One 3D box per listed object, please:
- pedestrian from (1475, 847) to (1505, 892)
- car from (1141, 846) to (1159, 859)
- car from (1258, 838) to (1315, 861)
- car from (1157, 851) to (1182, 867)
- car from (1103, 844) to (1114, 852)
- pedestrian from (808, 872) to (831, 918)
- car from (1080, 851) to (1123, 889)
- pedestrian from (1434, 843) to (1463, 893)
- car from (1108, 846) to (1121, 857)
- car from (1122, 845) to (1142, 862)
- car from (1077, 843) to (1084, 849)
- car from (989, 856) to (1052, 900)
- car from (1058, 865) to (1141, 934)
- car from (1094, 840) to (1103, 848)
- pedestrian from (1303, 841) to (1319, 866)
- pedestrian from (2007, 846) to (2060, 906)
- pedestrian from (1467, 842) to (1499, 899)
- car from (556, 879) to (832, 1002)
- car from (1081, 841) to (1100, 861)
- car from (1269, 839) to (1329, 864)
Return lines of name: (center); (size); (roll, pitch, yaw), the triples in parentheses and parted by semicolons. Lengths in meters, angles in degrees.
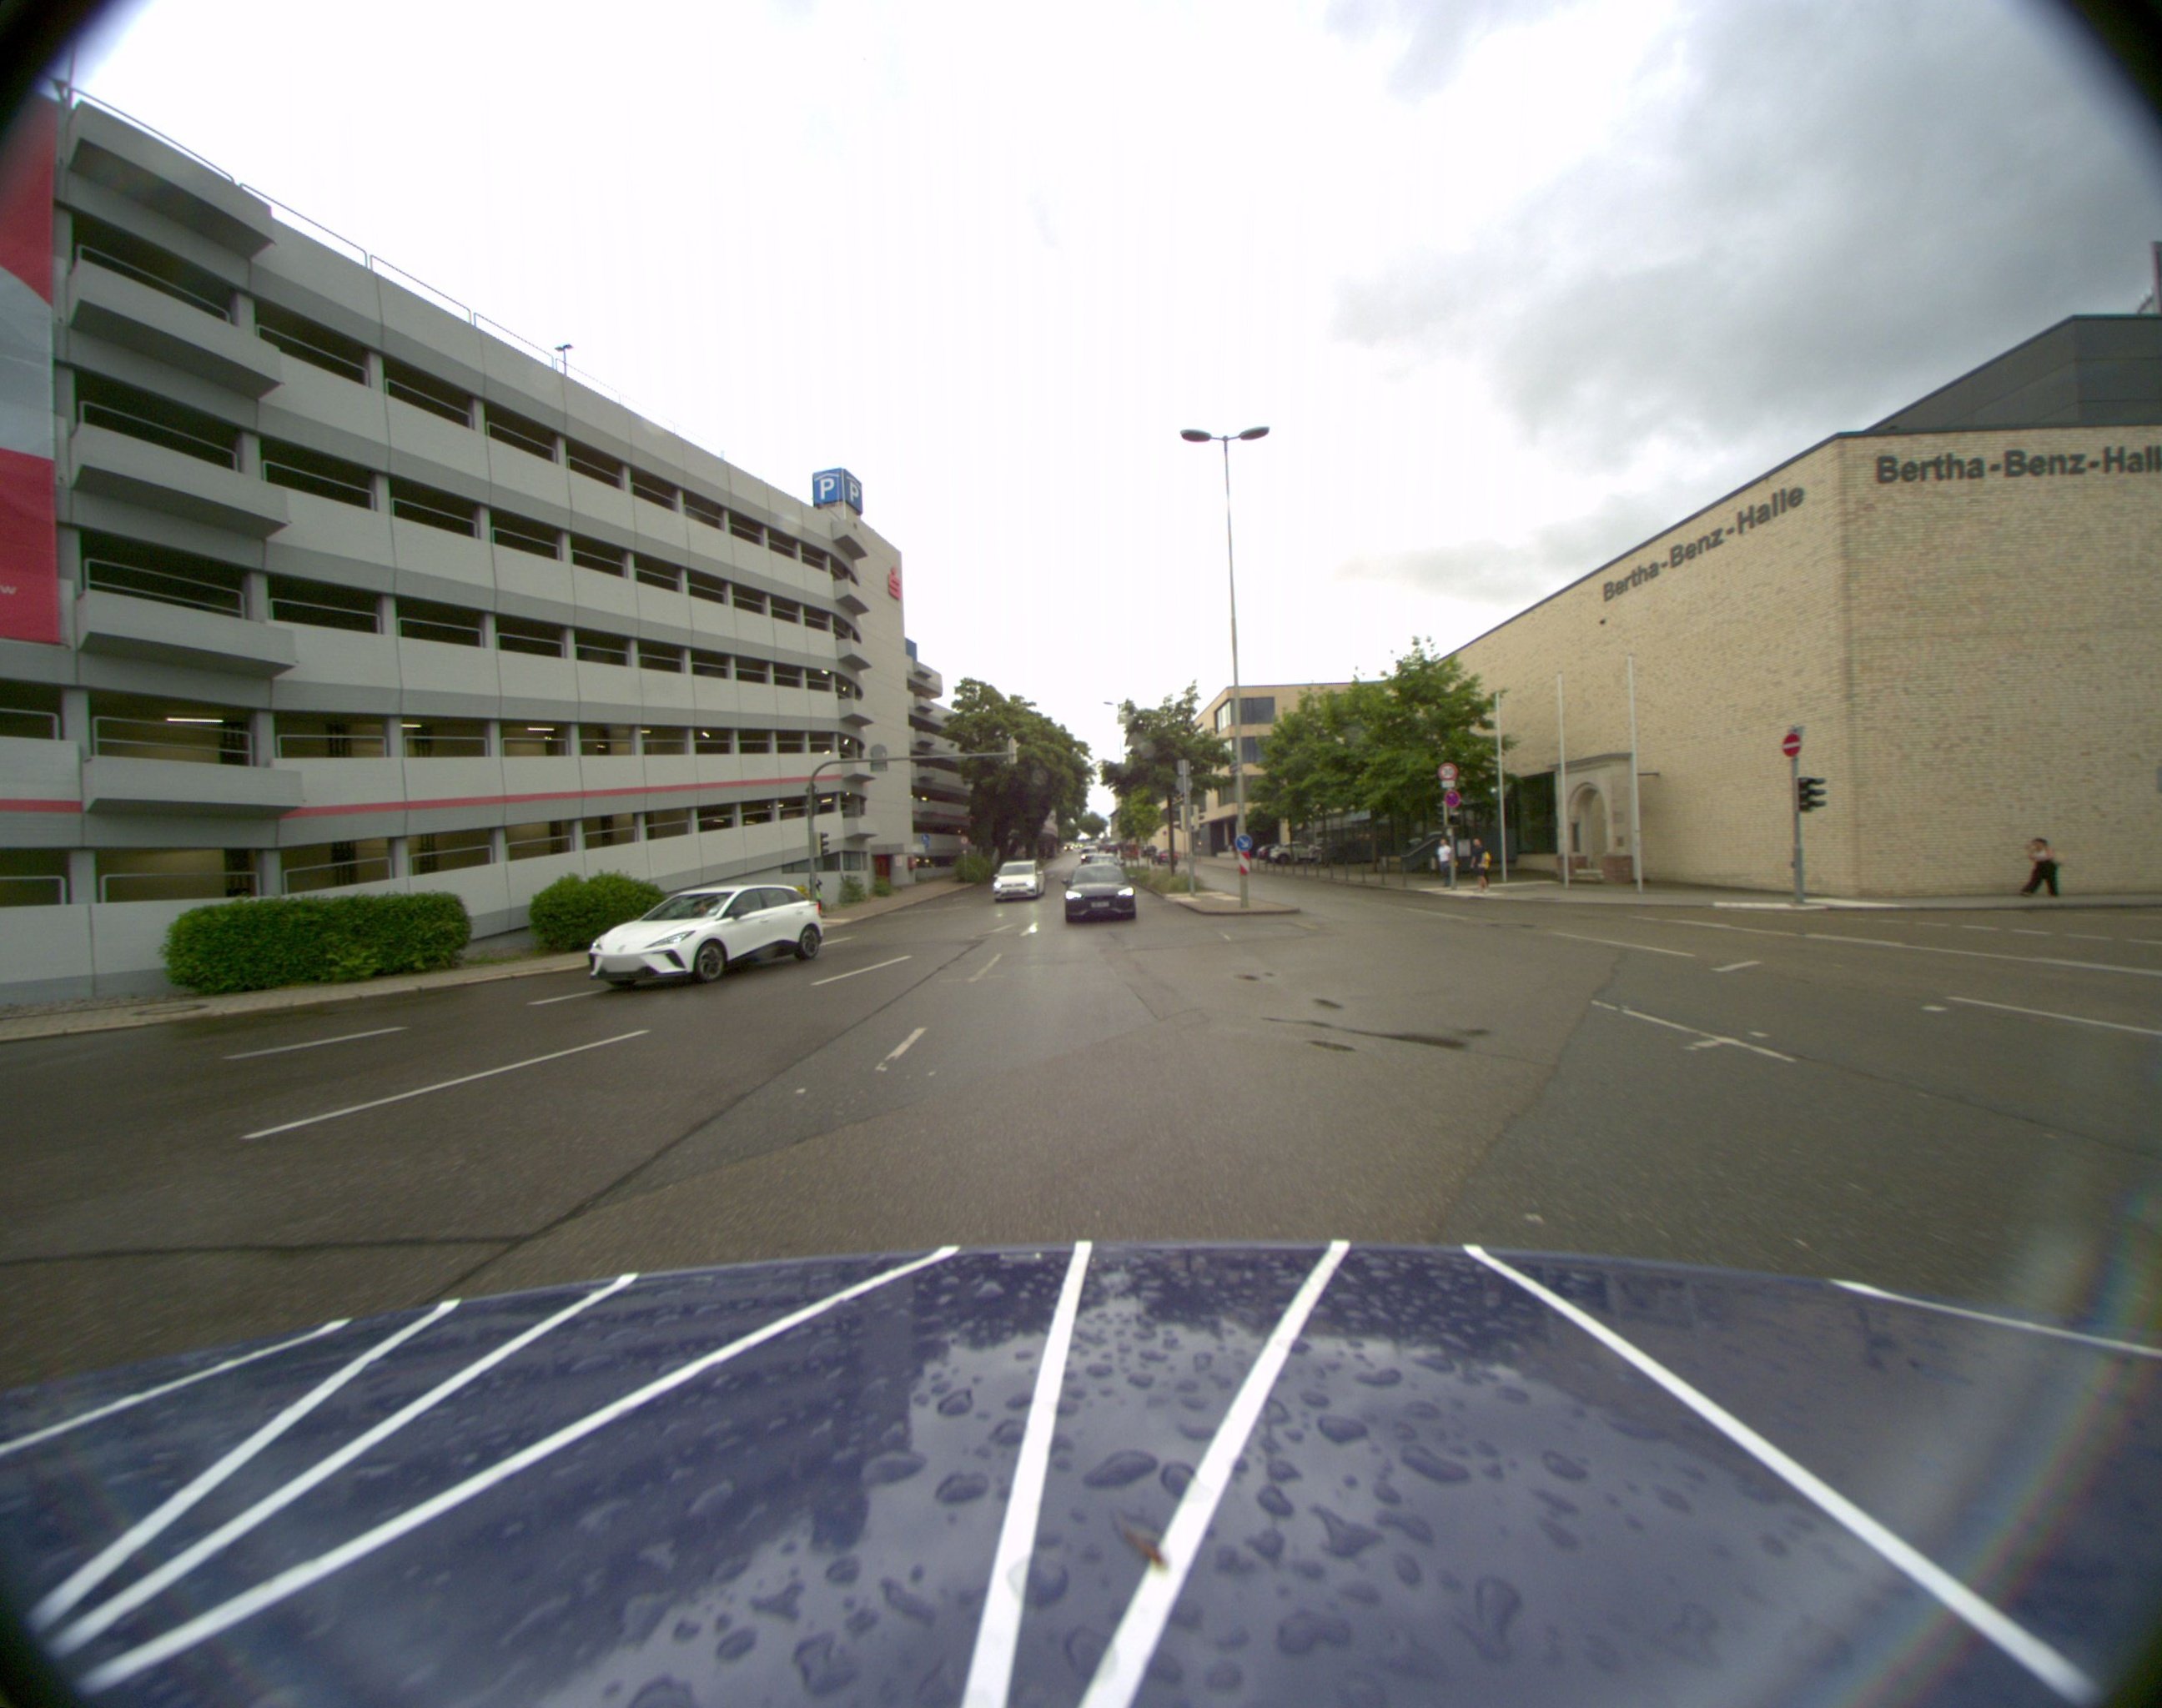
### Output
pedestrian: (13.925, 0.519, 25.880); (0.595, 1.508, 0.692); (-4, 1, -1)
car: (8.662, -0.155, 95.322); (1.676, 1.598, 4.299); (1, 0, -2)
car: (16.275, -0.383, 60.307); (3.996, 1.576, 2.000); (-4, 1, 4)
car: (8.026, 0.444, 69.108); (1.676, 1.461, 4.299); (0, 0, -2)
car: (5.374, -1.166, 148.880); (2.028, 1.598, 4.299); (1, 0, -2)
pedestrian: (-9.583, 1.504, 27.892); (0.584, 1.650, 0.519); (1, 2, 17)
car: (0.979, 0.752, 38.221); (1.846, 1.647, 3.999); (-4, 1, -1)
pedestrian: (13.222, 0.493, 27.328); (0.596, 1.721, 0.692); (-4, 1, -5)
car: (5.191, -0.433, 118.827); (1.676, 1.598, 4.299); (1, 0, -2)
car: (5.876, -0.078, 88.485); (1.855, 1.841, 4.299); (1, 0, -2)
car: (-0.194, -2.227, 217.084); (1.998, 1.716, 4.400); (-2, 0, 0)
car: (-2.526, 0.997, 32.811); (1.998, 1.716, 4.401); (-2, 0, 4)
car: (0.353, 1.064, 19.663); (1.739, 1.380, 4.581); (-4, 1, -3)
car: (4.100, -2.289, 180.028); (1.855, 1.841, 4.299); (1, 0, -2)
pedestrian: (15.469, -0.058, 51.057); (0.804, 1.638, 0.976); (-4, 1, 6)
pedestrian: (22.721, 0.515, 18.133); (0.622, 1.368, 0.475); (-4, 1, 0)
pedestrian: (13.004, 0.522, 24.586); (0.595, 1.761, 0.692); (-4, 1, -1)
car: (-6.263, 1.332, 12.972); (1.803, 1.469, 4.213); (-4, 0, 13)
car: (1.001, -0.312, 78.357); (1.805, 1.818, 3.949); (-4, 0, 1)
car: (16.564, -0.204, 57.870); (3.996, 1.576, 2.000); (-4, 1, 4)
